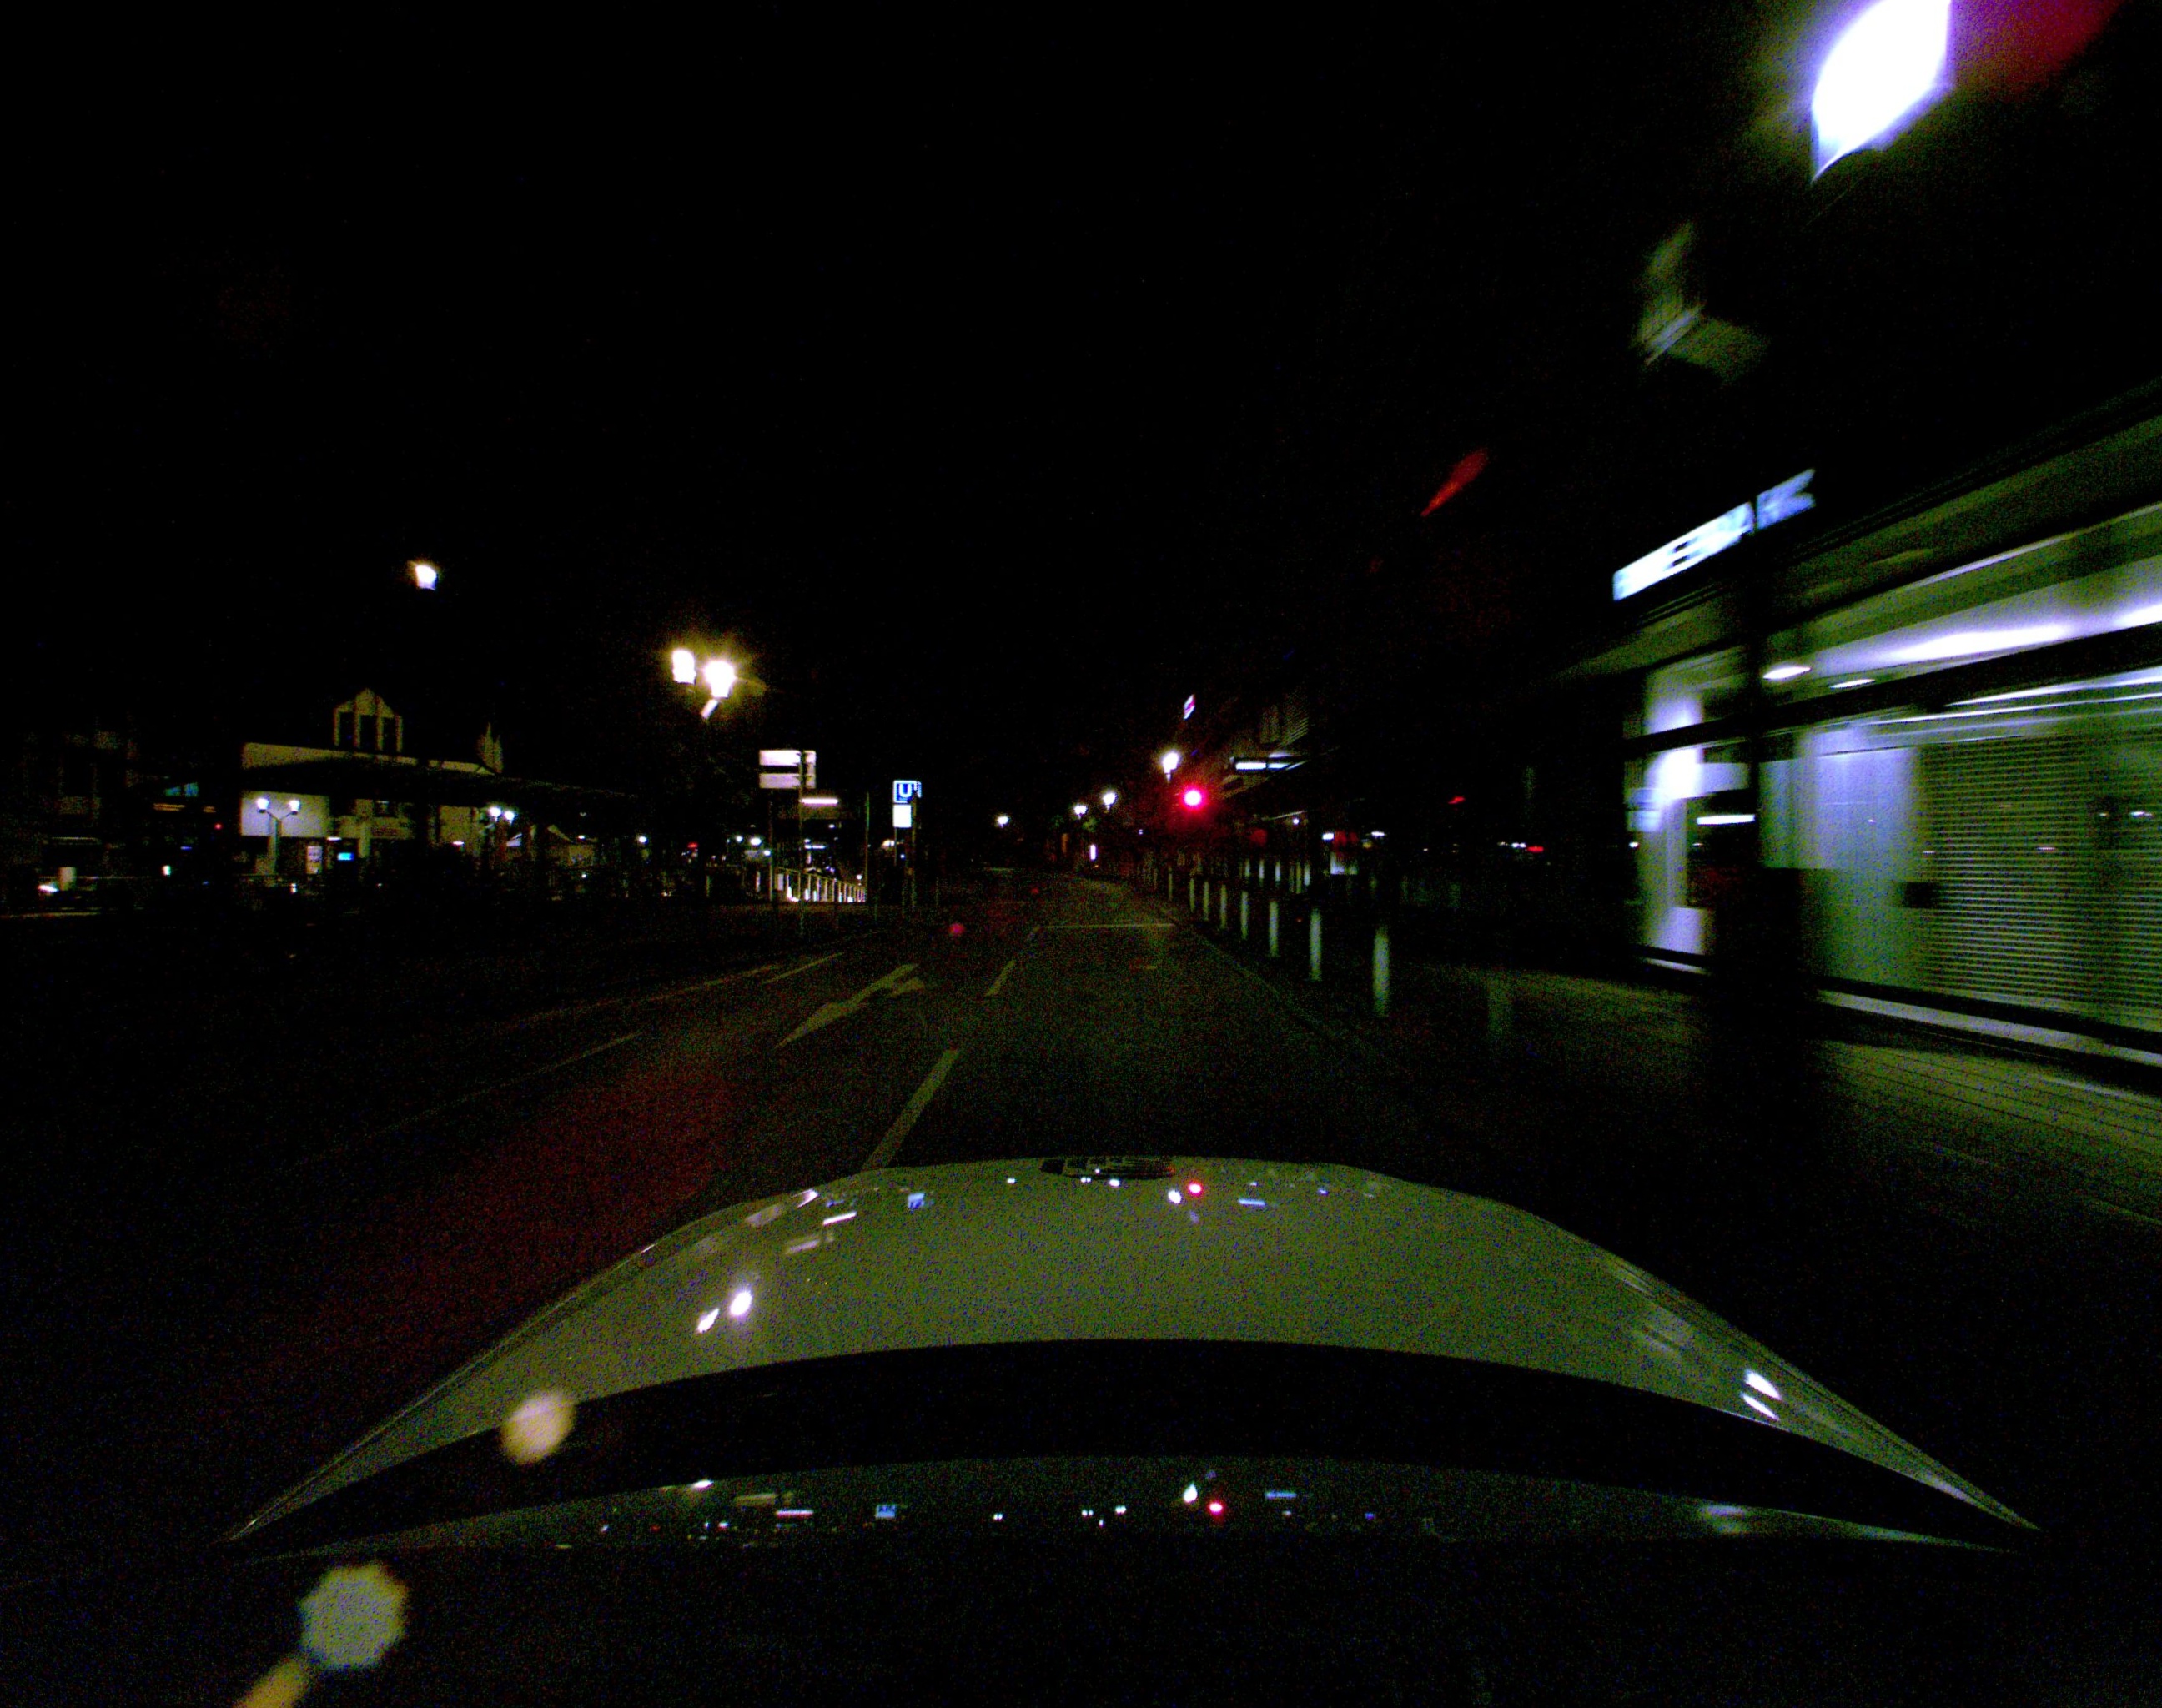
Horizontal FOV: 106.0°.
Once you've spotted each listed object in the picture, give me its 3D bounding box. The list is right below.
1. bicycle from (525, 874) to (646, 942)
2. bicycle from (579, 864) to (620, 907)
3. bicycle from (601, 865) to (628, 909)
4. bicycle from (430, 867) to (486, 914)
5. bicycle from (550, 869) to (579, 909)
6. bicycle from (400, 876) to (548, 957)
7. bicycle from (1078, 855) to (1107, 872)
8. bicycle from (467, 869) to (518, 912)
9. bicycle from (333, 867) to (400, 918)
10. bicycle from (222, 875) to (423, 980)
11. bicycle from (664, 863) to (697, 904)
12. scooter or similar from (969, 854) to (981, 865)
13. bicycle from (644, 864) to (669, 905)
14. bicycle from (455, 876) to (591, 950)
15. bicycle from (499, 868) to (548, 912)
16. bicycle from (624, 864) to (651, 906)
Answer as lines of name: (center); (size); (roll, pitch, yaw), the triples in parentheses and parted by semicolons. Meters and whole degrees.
bicycle: (-8.367, 0.898, 13.791); (1.610, 1.105, 0.670); (0, -1, 0)
bicycle: (-14.495, 0.923, 24.563); (0.608, 1.165, 1.738); (-2, 1, -16)
bicycle: (-13.593, 0.937, 23.709); (0.611, 1.165, 1.730); (-2, 1, -31)
bicycle: (-17.135, 0.989, 22.428); (0.608, 1.165, 1.737); (-2, 1, -16)
bicycle: (-15.017, 0.996, 23.677); (0.611, 1.069, 1.728); (-2, 1, -35)
bicycle: (-8.738, 0.886, 11.764); (1.610, 1.105, 0.670); (0, -1, 0)
bicycle: (0.717, 0.595, 51.414); (1.757, 1.062, 0.650); (0, 1, -24)
bicycle: (-16.643, 1.005, 23.076); (0.608, 1.100, 1.737); (-2, 1, -16)
bicycle: (-18.873, 0.994, 21.554); (0.608, 1.218, 1.737); (-2, 1, -16)
bicycle: (-8.993, 0.851, 9.699); (1.763, 1.164, 0.670); (-1, 0, 0)
bicycle: (-12.529, 0.900, 25.465); (0.764, 1.162, 1.730); (-2, 1, -31)
scooter or similar: (-12.259, 0.586, 93.945); (1.253, 1.227, 0.593); (1, 0, -27)
bicycle: (-12.864, 0.905, 24.648); (0.547, 1.154, 1.730); (-2, 1, -31)
bicycle: (-8.550, 0.891, 12.516); (1.610, 1.105, 0.670); (0, -1, 0)
bicycle: (-15.675, 0.998, 22.941); (0.608, 1.125, 1.737); (-2, 1, -16)
bicycle: (-13.477, 0.911, 24.714); (0.611, 1.165, 1.730); (-2, 1, -31)
